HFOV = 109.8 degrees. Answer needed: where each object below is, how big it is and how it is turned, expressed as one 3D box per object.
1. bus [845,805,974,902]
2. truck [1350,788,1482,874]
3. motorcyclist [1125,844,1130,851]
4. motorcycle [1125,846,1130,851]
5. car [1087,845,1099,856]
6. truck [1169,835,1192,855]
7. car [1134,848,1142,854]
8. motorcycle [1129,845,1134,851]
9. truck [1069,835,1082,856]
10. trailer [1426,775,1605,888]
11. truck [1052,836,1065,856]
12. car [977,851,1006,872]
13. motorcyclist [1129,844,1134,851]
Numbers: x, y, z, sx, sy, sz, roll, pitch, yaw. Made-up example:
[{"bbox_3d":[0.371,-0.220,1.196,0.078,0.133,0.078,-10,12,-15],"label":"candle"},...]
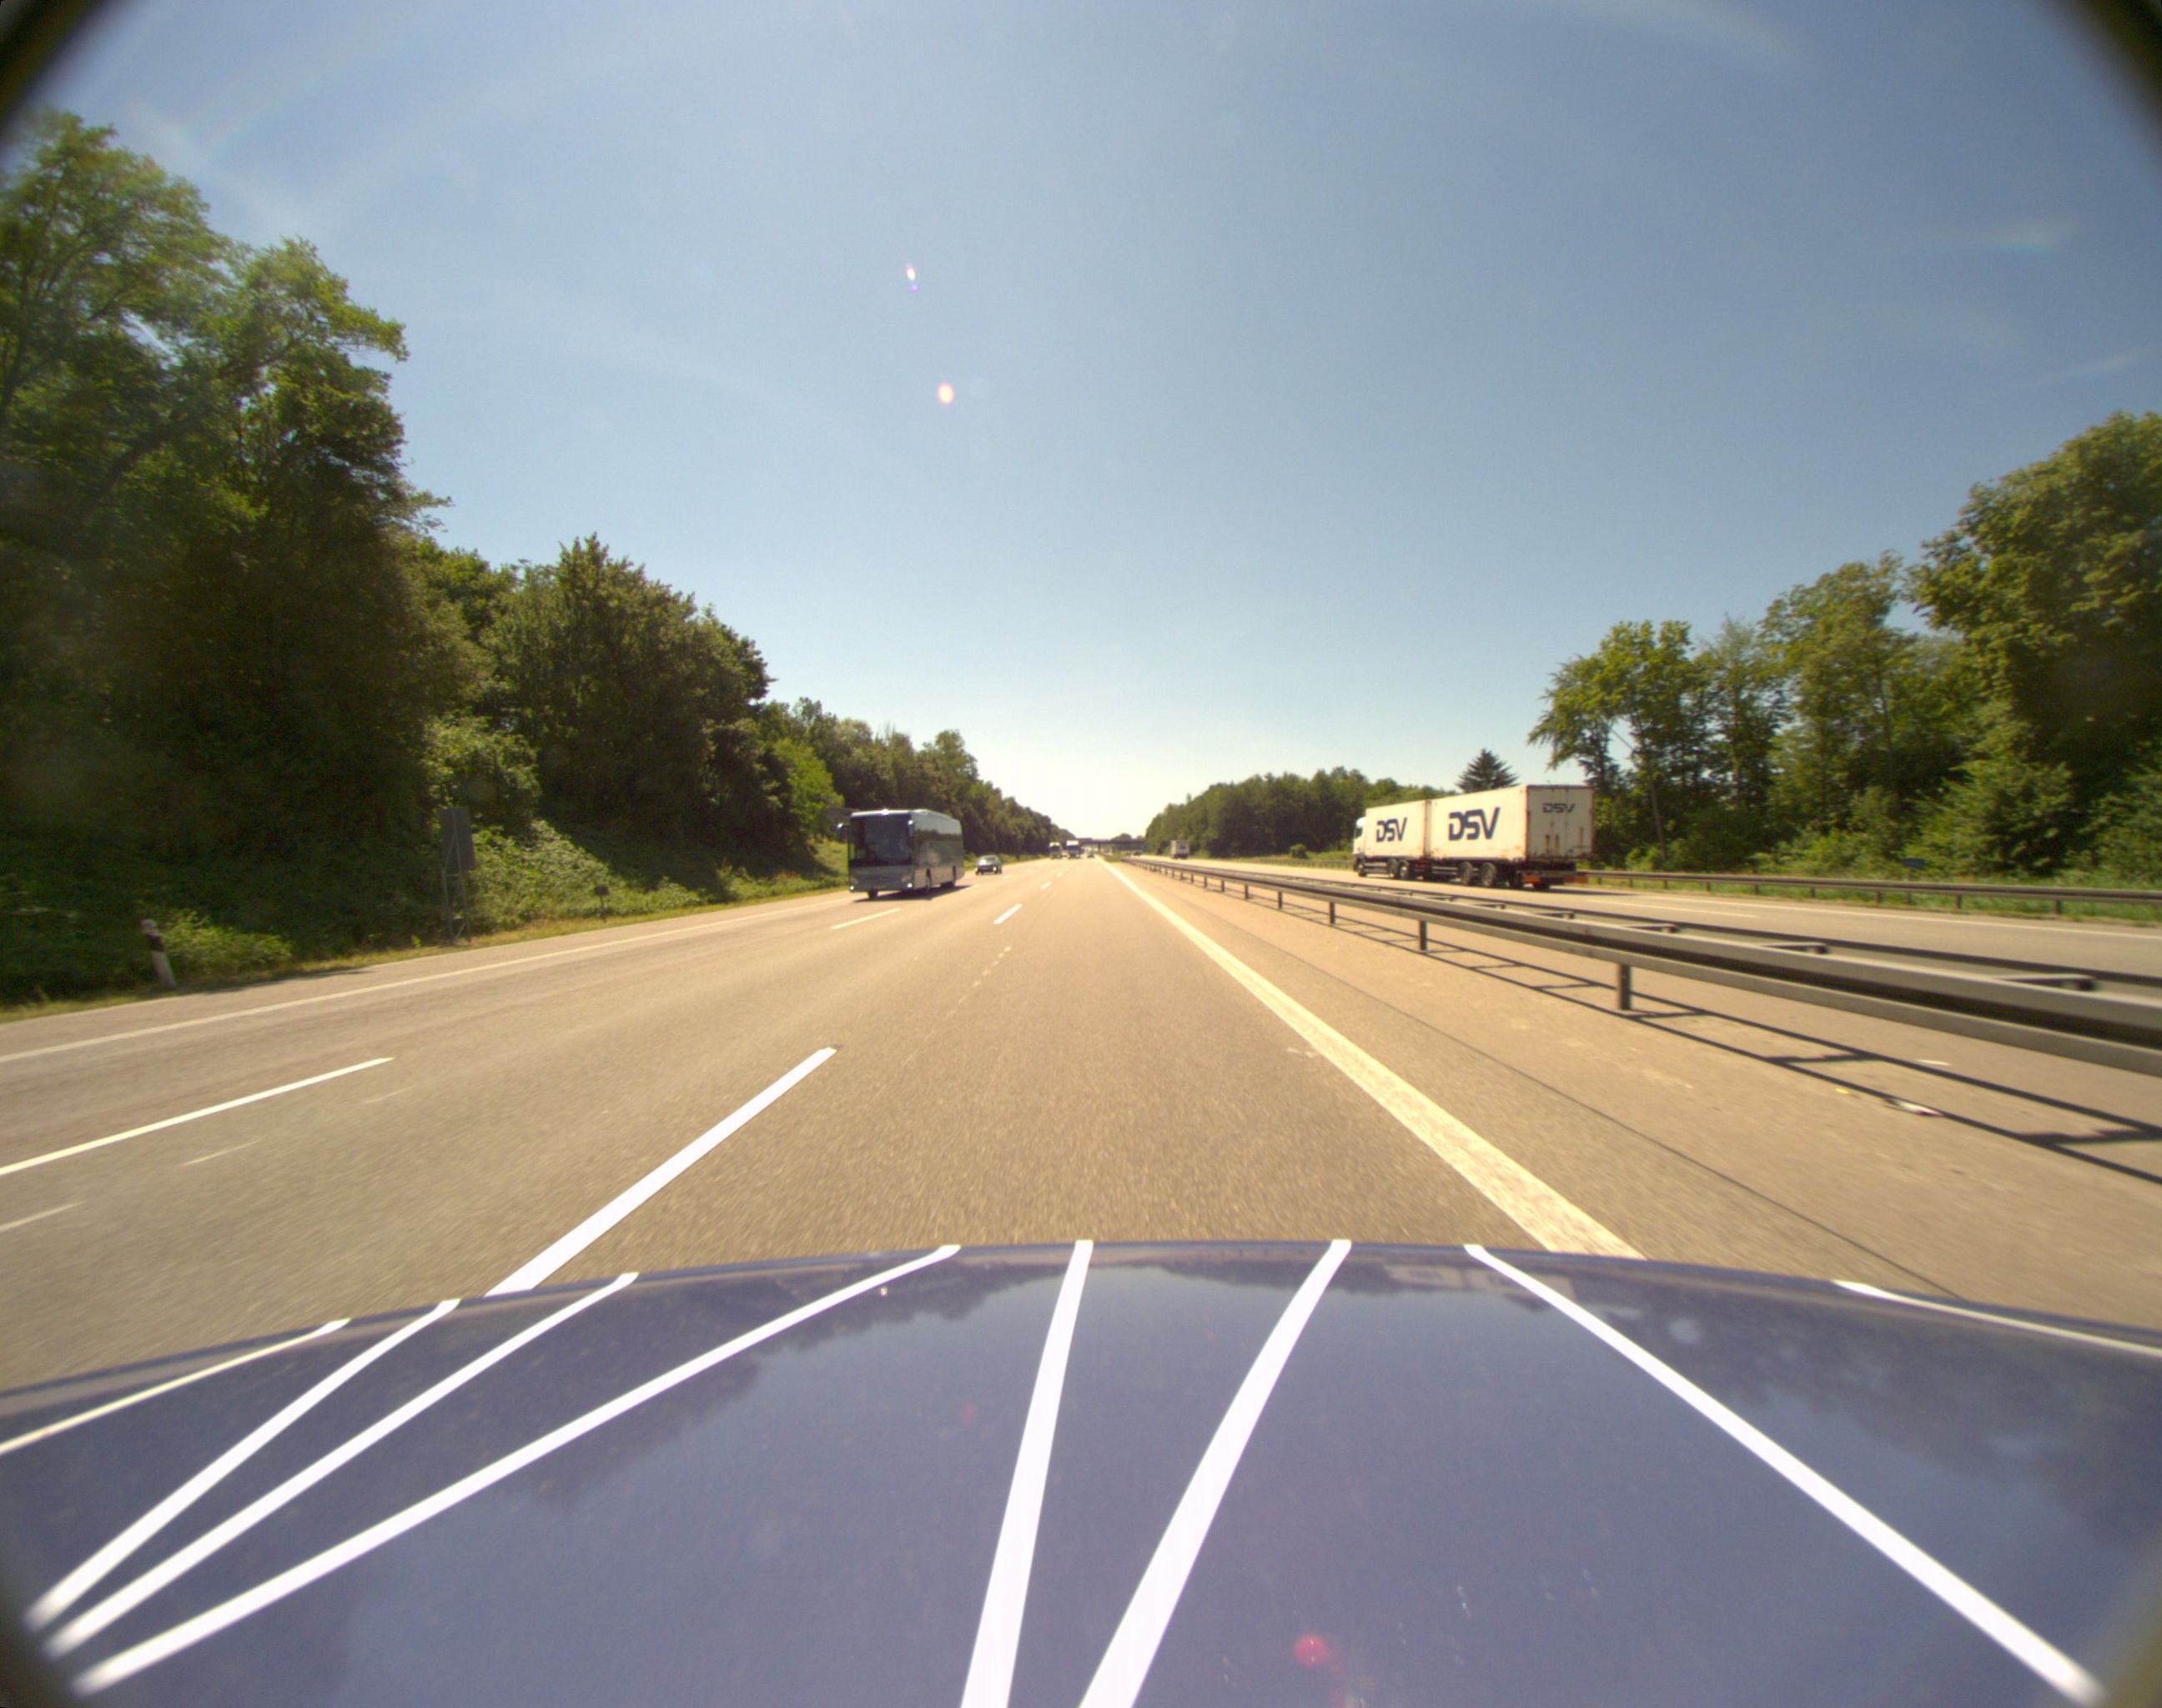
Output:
[{"bbox_3d":[-7.411,-0.130,35.437,2.617,3.532,13.680,-2,1,1],"label":"bus"},{"bbox_3d":[17.771,-1.175,41.347,2.587,3.985,10.337,-2,1,1],"label":"truck"},{"bbox_3d":[12.110,-1.664,197.835,1.043,1.590,1.151,-2,1,1],"label":"motorcyclist"},{"bbox_3d":[12.130,-1.479,198.018,1.037,1.231,3.810,-2,1,1],"label":"motorcycle"},{"bbox_3d":[2.819,-0.866,175.212,2.616,2.390,7.122,-2,1,0],"label":"car"},{"bbox_3d":[19.403,-1.819,148.374,3.002,3.598,10.269,-2,1,1],"label":"truck"},{"bbox_3d":[16.744,-0.973,222.811,1.850,1.663,4.185,1,1,1],"label":"car"},{"bbox_3d":[11.709,-1.444,177.517,1.037,1.260,2.577,-2,1,1],"label":"motorcycle"},{"bbox_3d":[-1.177,-2.029,175.130,2.616,4.638,10.960,-2,1,1],"label":"truck"},{"bbox_3d":[17.709,-0.881,31.868,2.585,3.967,8.558,-2,1,0],"label":"trailer"},{"bbox_3d":[-5.494,-1.958,188.231,2.616,4.638,10.960,-2,1,1],"label":"truck"},{"bbox_3d":[-7.414,0.580,63.159,1.814,1.607,3.999,-2,1,1],"label":"car"},{"bbox_3d":[11.735,-1.606,177.425,1.043,1.590,1.151,-2,1,1],"label":"motorcyclist"}]
